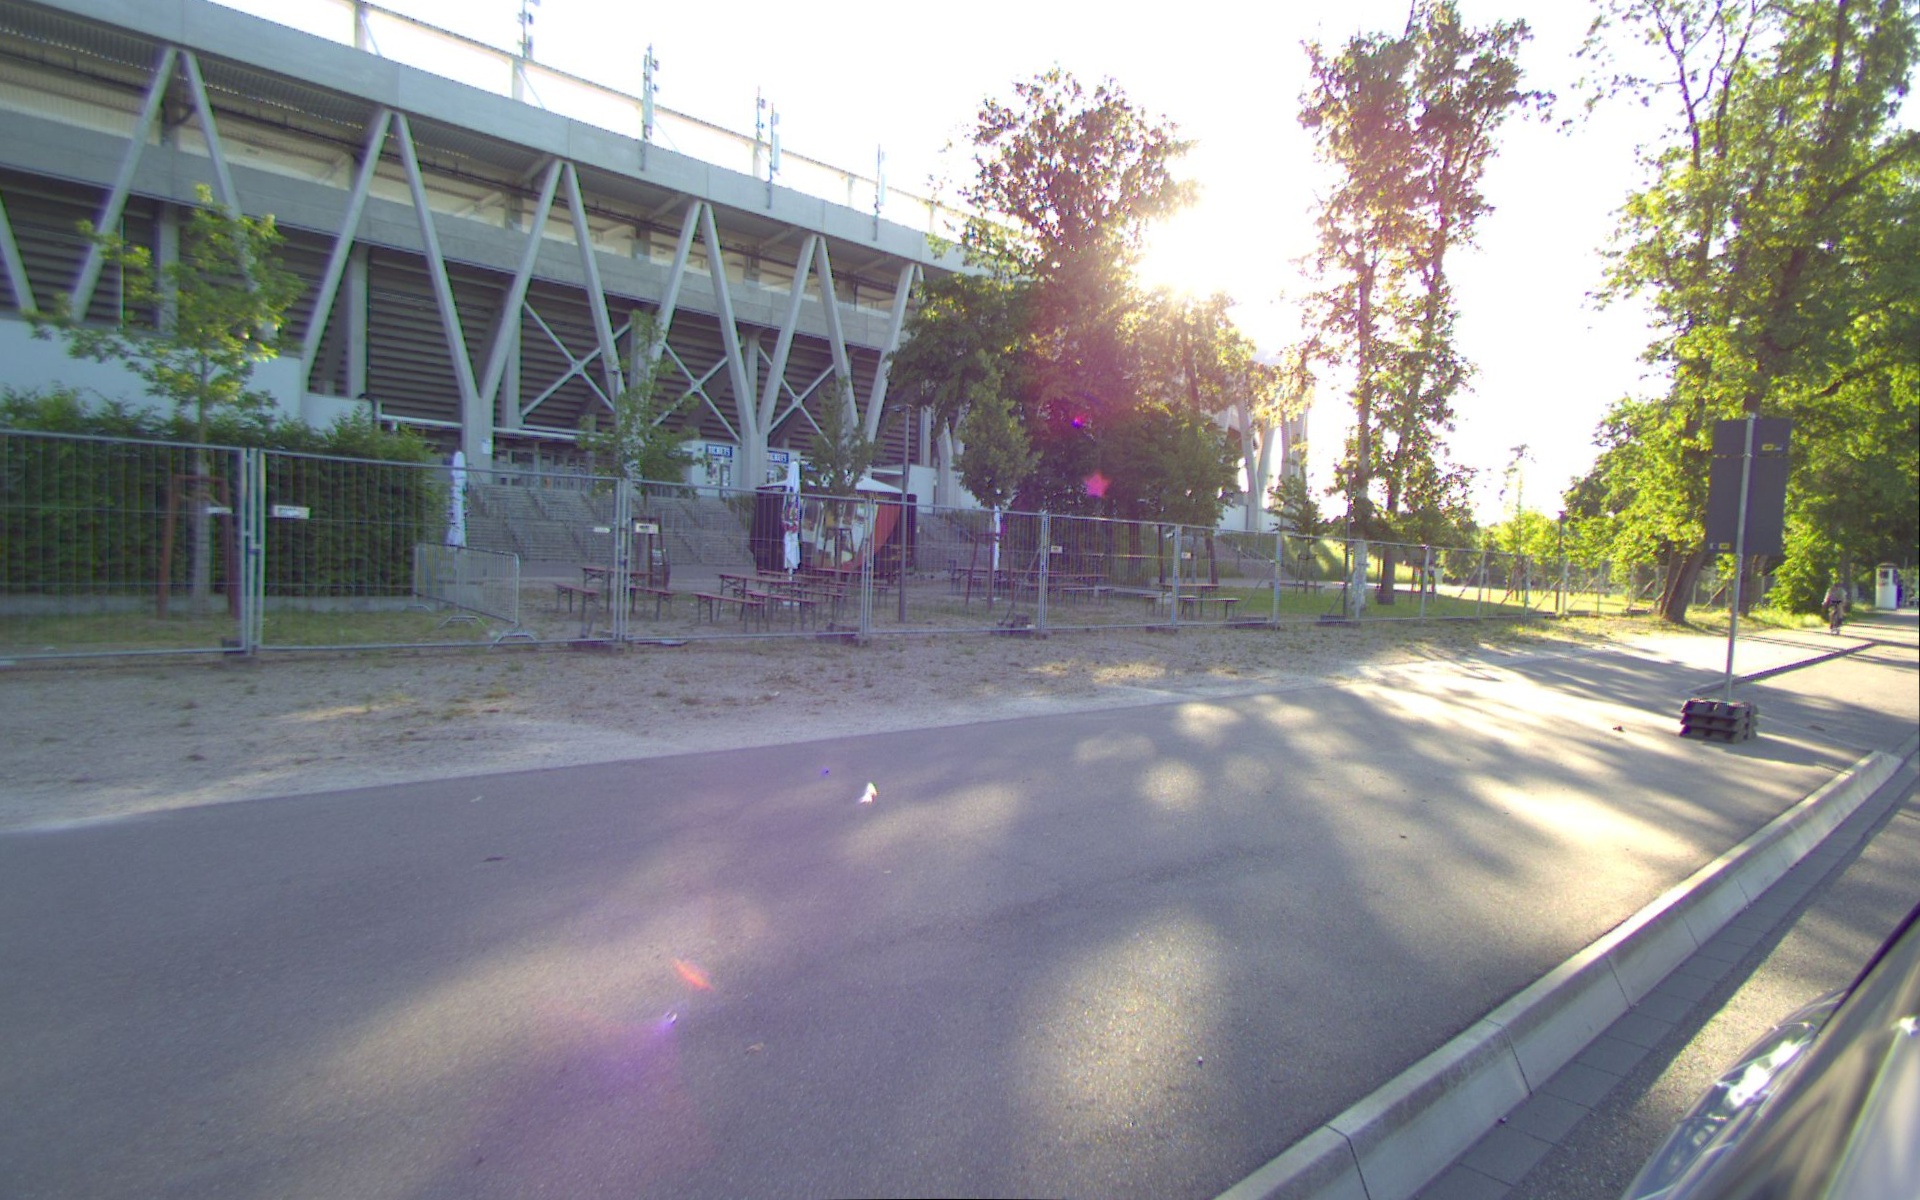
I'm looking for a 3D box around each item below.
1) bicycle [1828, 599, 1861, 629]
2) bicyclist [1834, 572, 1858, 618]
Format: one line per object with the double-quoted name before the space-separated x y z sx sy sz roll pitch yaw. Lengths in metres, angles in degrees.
"bicycle" 27.645 0.426 31.633 1.876 0.869 0.481 0 2 -41
"bicyclist" 27.805 -0.160 31.744 0.565 1.438 0.451 0 2 -42
